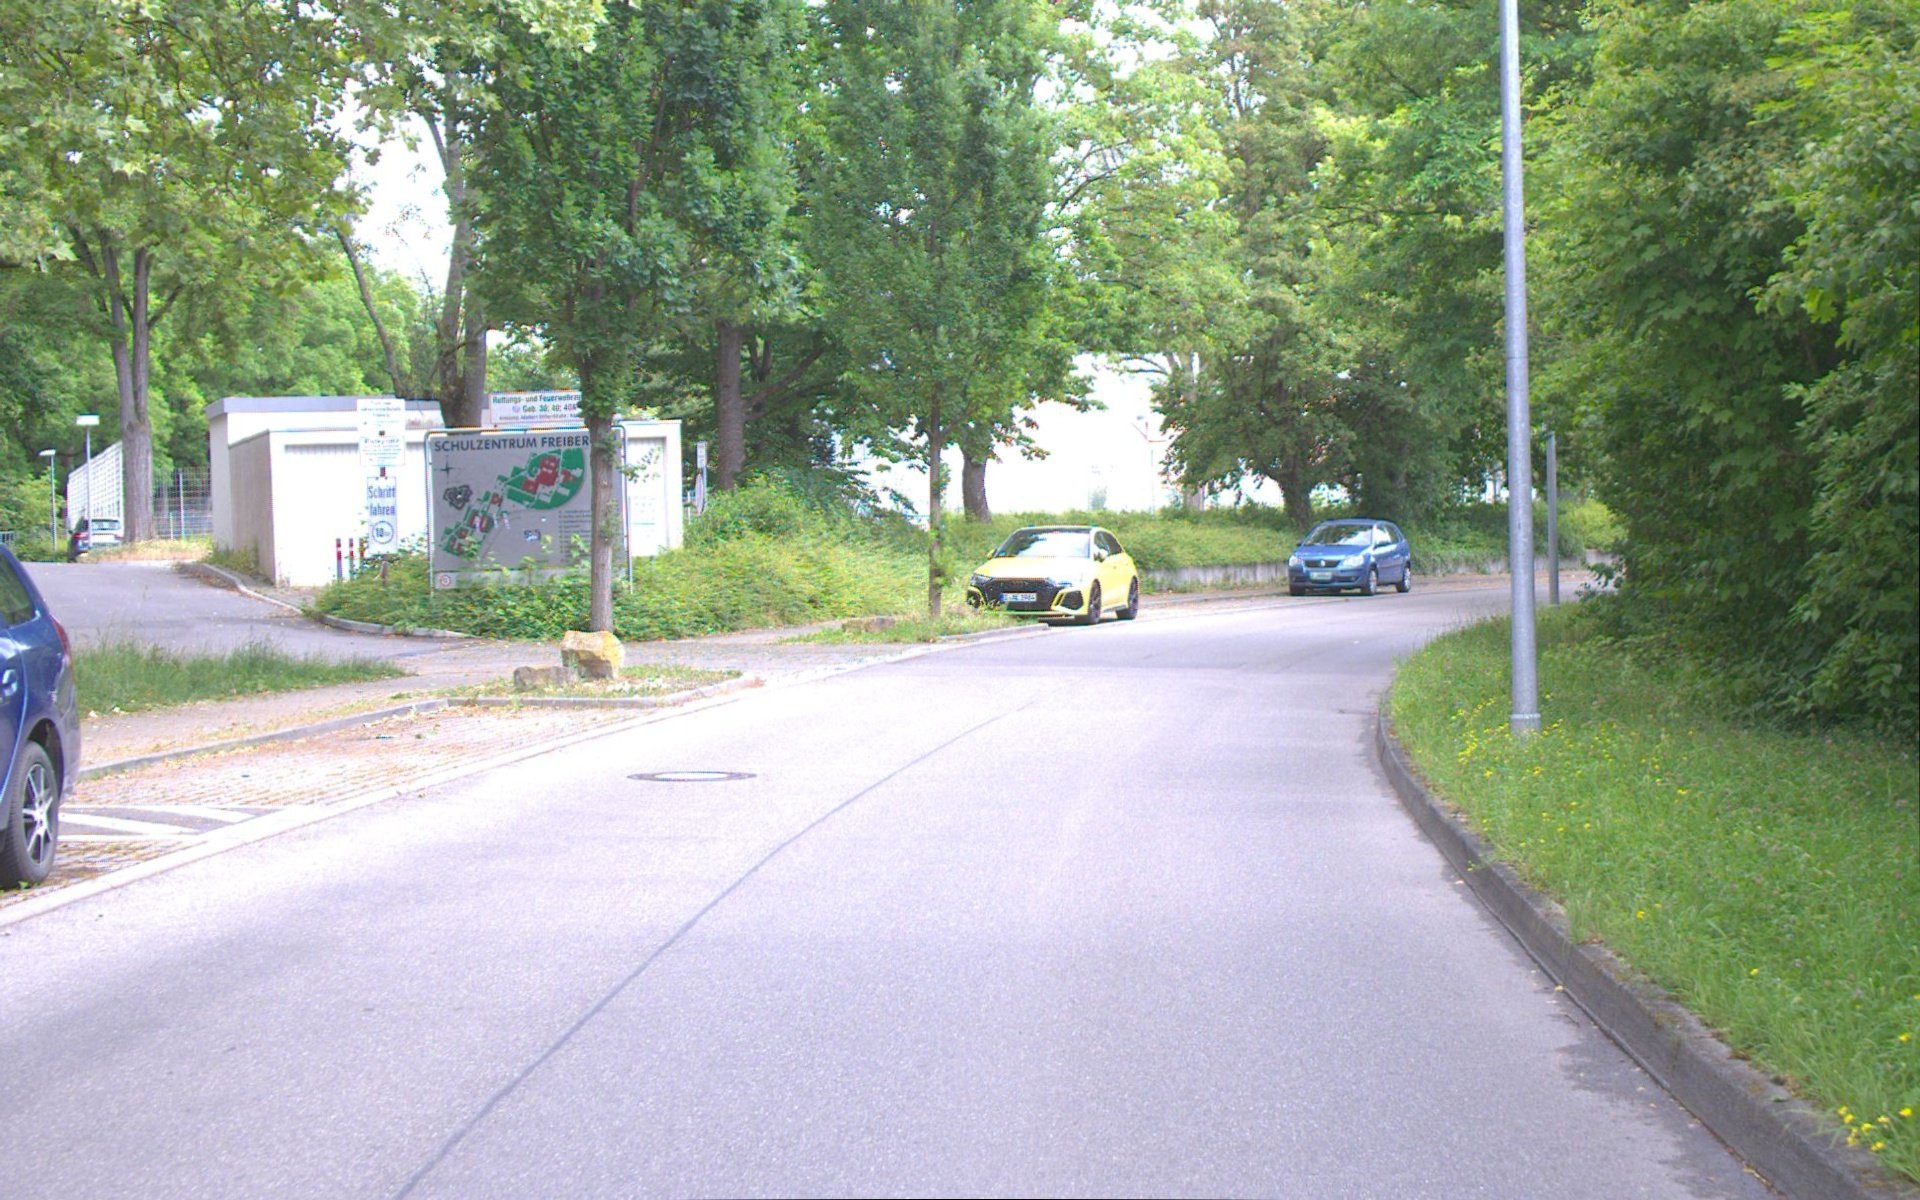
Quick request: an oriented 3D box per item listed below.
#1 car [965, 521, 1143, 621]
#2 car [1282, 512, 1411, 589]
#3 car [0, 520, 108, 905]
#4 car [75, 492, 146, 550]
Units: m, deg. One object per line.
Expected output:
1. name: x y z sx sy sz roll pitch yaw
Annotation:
1. car: 1.423 -0.447 50.449 1.701 1.398 4.270 0 1 15
2. car: 7.590 -0.982 67.296 1.535 1.454 3.716 0 1 23
3. car: -4.627 0.470 12.804 1.680 1.506 4.431 -1 1 2
4. car: -26.732 -2.481 108.267 1.872 1.740 4.001 -2 2 -10
